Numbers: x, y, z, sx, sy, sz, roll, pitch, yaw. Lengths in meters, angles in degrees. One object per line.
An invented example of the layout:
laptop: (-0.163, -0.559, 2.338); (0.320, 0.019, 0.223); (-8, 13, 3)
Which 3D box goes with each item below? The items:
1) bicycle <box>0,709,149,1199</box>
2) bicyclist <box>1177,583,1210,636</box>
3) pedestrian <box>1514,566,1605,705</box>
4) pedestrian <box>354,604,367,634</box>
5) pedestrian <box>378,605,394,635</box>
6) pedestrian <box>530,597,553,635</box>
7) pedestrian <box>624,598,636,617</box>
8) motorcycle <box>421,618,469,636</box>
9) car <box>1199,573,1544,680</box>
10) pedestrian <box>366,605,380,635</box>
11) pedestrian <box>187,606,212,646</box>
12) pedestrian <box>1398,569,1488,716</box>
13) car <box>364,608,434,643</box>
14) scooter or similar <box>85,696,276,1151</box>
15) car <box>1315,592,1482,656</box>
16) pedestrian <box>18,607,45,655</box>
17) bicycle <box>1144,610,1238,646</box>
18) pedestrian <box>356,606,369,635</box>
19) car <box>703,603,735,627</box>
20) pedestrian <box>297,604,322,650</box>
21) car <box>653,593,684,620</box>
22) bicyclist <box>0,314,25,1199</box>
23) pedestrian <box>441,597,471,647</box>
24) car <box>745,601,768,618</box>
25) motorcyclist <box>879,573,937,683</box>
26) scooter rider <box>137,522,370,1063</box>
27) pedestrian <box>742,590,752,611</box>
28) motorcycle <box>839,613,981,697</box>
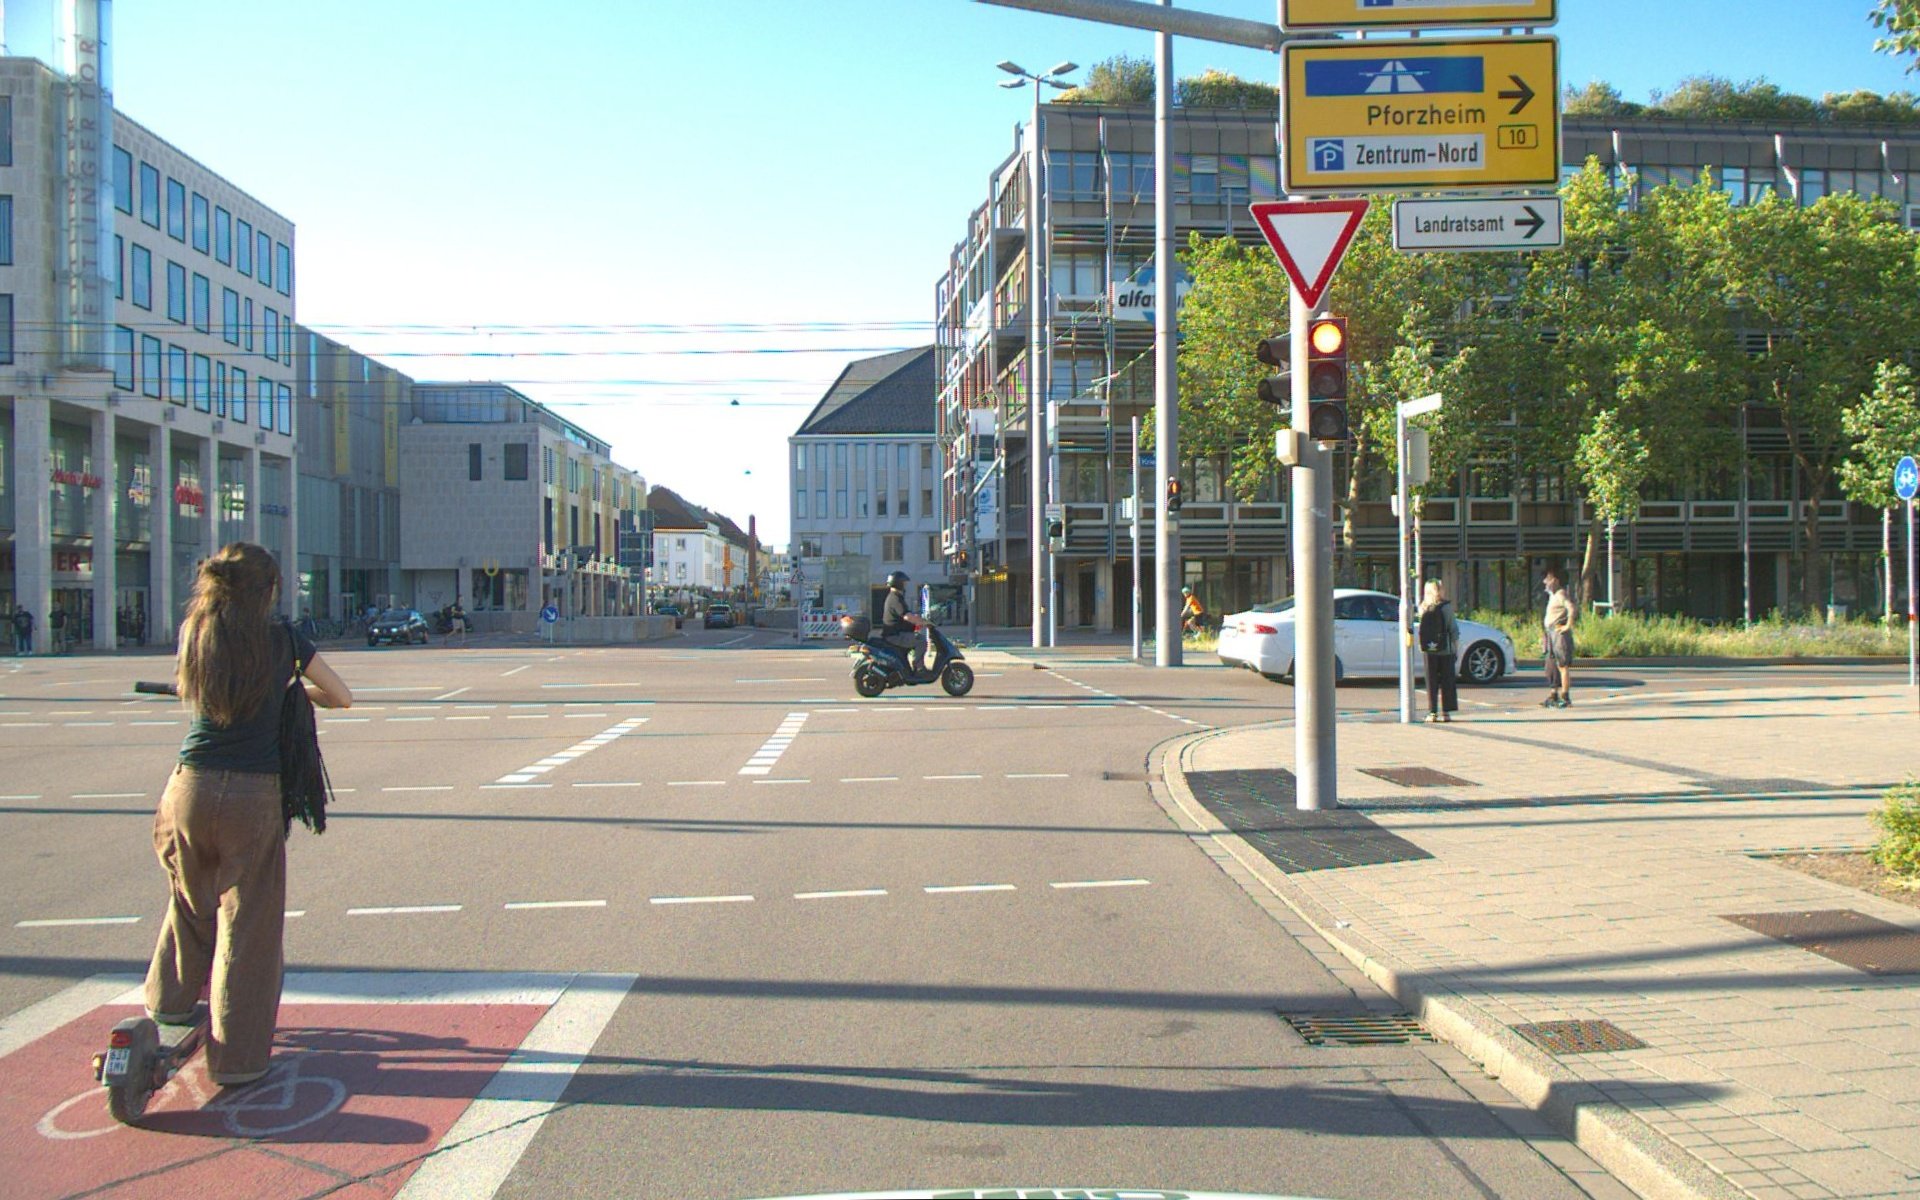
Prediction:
bicycle: (-2.051, 0.818, 2.514); (0.724, 1.167, 1.890); (0, 0, -1)
bicyclist: (6.672, 0.275, 47.227); (0.806, 1.500, 0.652); (-1, 0, -5)
pedestrian: (7.677, 0.448, 21.204); (0.854, 1.736, 0.768); (-1, 0, -3)
pedestrian: (-35.972, 1.145, 99.238); (0.462, 1.759, 0.518); (0, -1, 38)
pedestrian: (-34.221, 1.172, 98.602); (0.462, 1.759, 0.692); (0, -1, 37)
pedestrian: (-20.058, 0.763, 79.237); (0.881, 1.814, 0.808); (0, 0, -1)
pedestrian: (-28.185, 0.647, 141.249); (0.668, 1.626, 0.839); (-1, 0, 9)
motorcycle: (-30.372, 1.580, 97.627); (2.555, 1.010, 1.113); (1, 0, -10)
car: (6.521, 0.388, 26.397); (4.993, 1.592, 1.994); (-1, 0, -12)
pedestrian: (-34.746, 1.160, 97.920); (0.462, 1.759, 0.626); (1, -1, 33)
pedestrian: (-32.358, 1.116, 70.376); (0.760, 1.667, 0.626); (-1, 0, 16)
pedestrian: (5.539, 0.477, 19.001); (0.750, 1.642, 0.874); (-1, 0, -2)
car: (-23.517, 1.048, 69.435); (1.642, 1.381, 4.019); (-1, 0, -2)
scooter or similar: (-2.211, 0.867, 4.745); (0.301, 1.127, 0.836); (-1, 0, -12)
car: (12.328, 0.645, 46.596); (4.212, 1.713, 1.820); (-1, 0, -11)
pedestrian: (-32.787, 1.106, 58.421); (0.580, 1.674, 0.629); (-1, 0, -1)
bicycle: (6.585, 0.793, 47.211); (2.517, 0.992, 1.047); (-1, 0, -4)
pedestrian: (-36.304, 1.263, 100.469); (0.462, 1.759, 0.518); (0, -1, 38)
car: (-15.698, 0.960, 107.827); (1.625, 1.484, 3.541); (-1, 0, -1)
pedestrian: (-24.831, 1.026, 63.157); (0.685, 1.718, 0.619); (-1, 0, 0)
car: (-18.872, 0.400, 107.296); (1.785, 1.713, 3.993); (-1, 0, -8)
bicyclist: (-2.093, 0.360, 2.572); (0.789, 1.730, 0.851); (0, 0, -1)
pedestrian: (-19.260, 0.831, 63.171); (0.923, 1.897, 0.539); (-1, 0, 16)
car: (-17.901, 0.823, 145.565); (1.625, 1.484, 3.541); (-1, 0, -1)
motorcyclist: (-0.724, 0.378, 22.964); (0.735, 1.505, 0.598); (0, 0, -9)
scooter rider: (-2.129, 0.551, 5.027); (0.542, 1.556, 0.448); (-1, 0, -9)
pedestrian: (-21.151, 0.048, 164.365); (0.892, 1.999, 0.822); (1, -1, -1)
motorcycle: (-0.701, 0.753, 22.985); (1.918, 1.120, 0.648); (-1, 0, -9)
